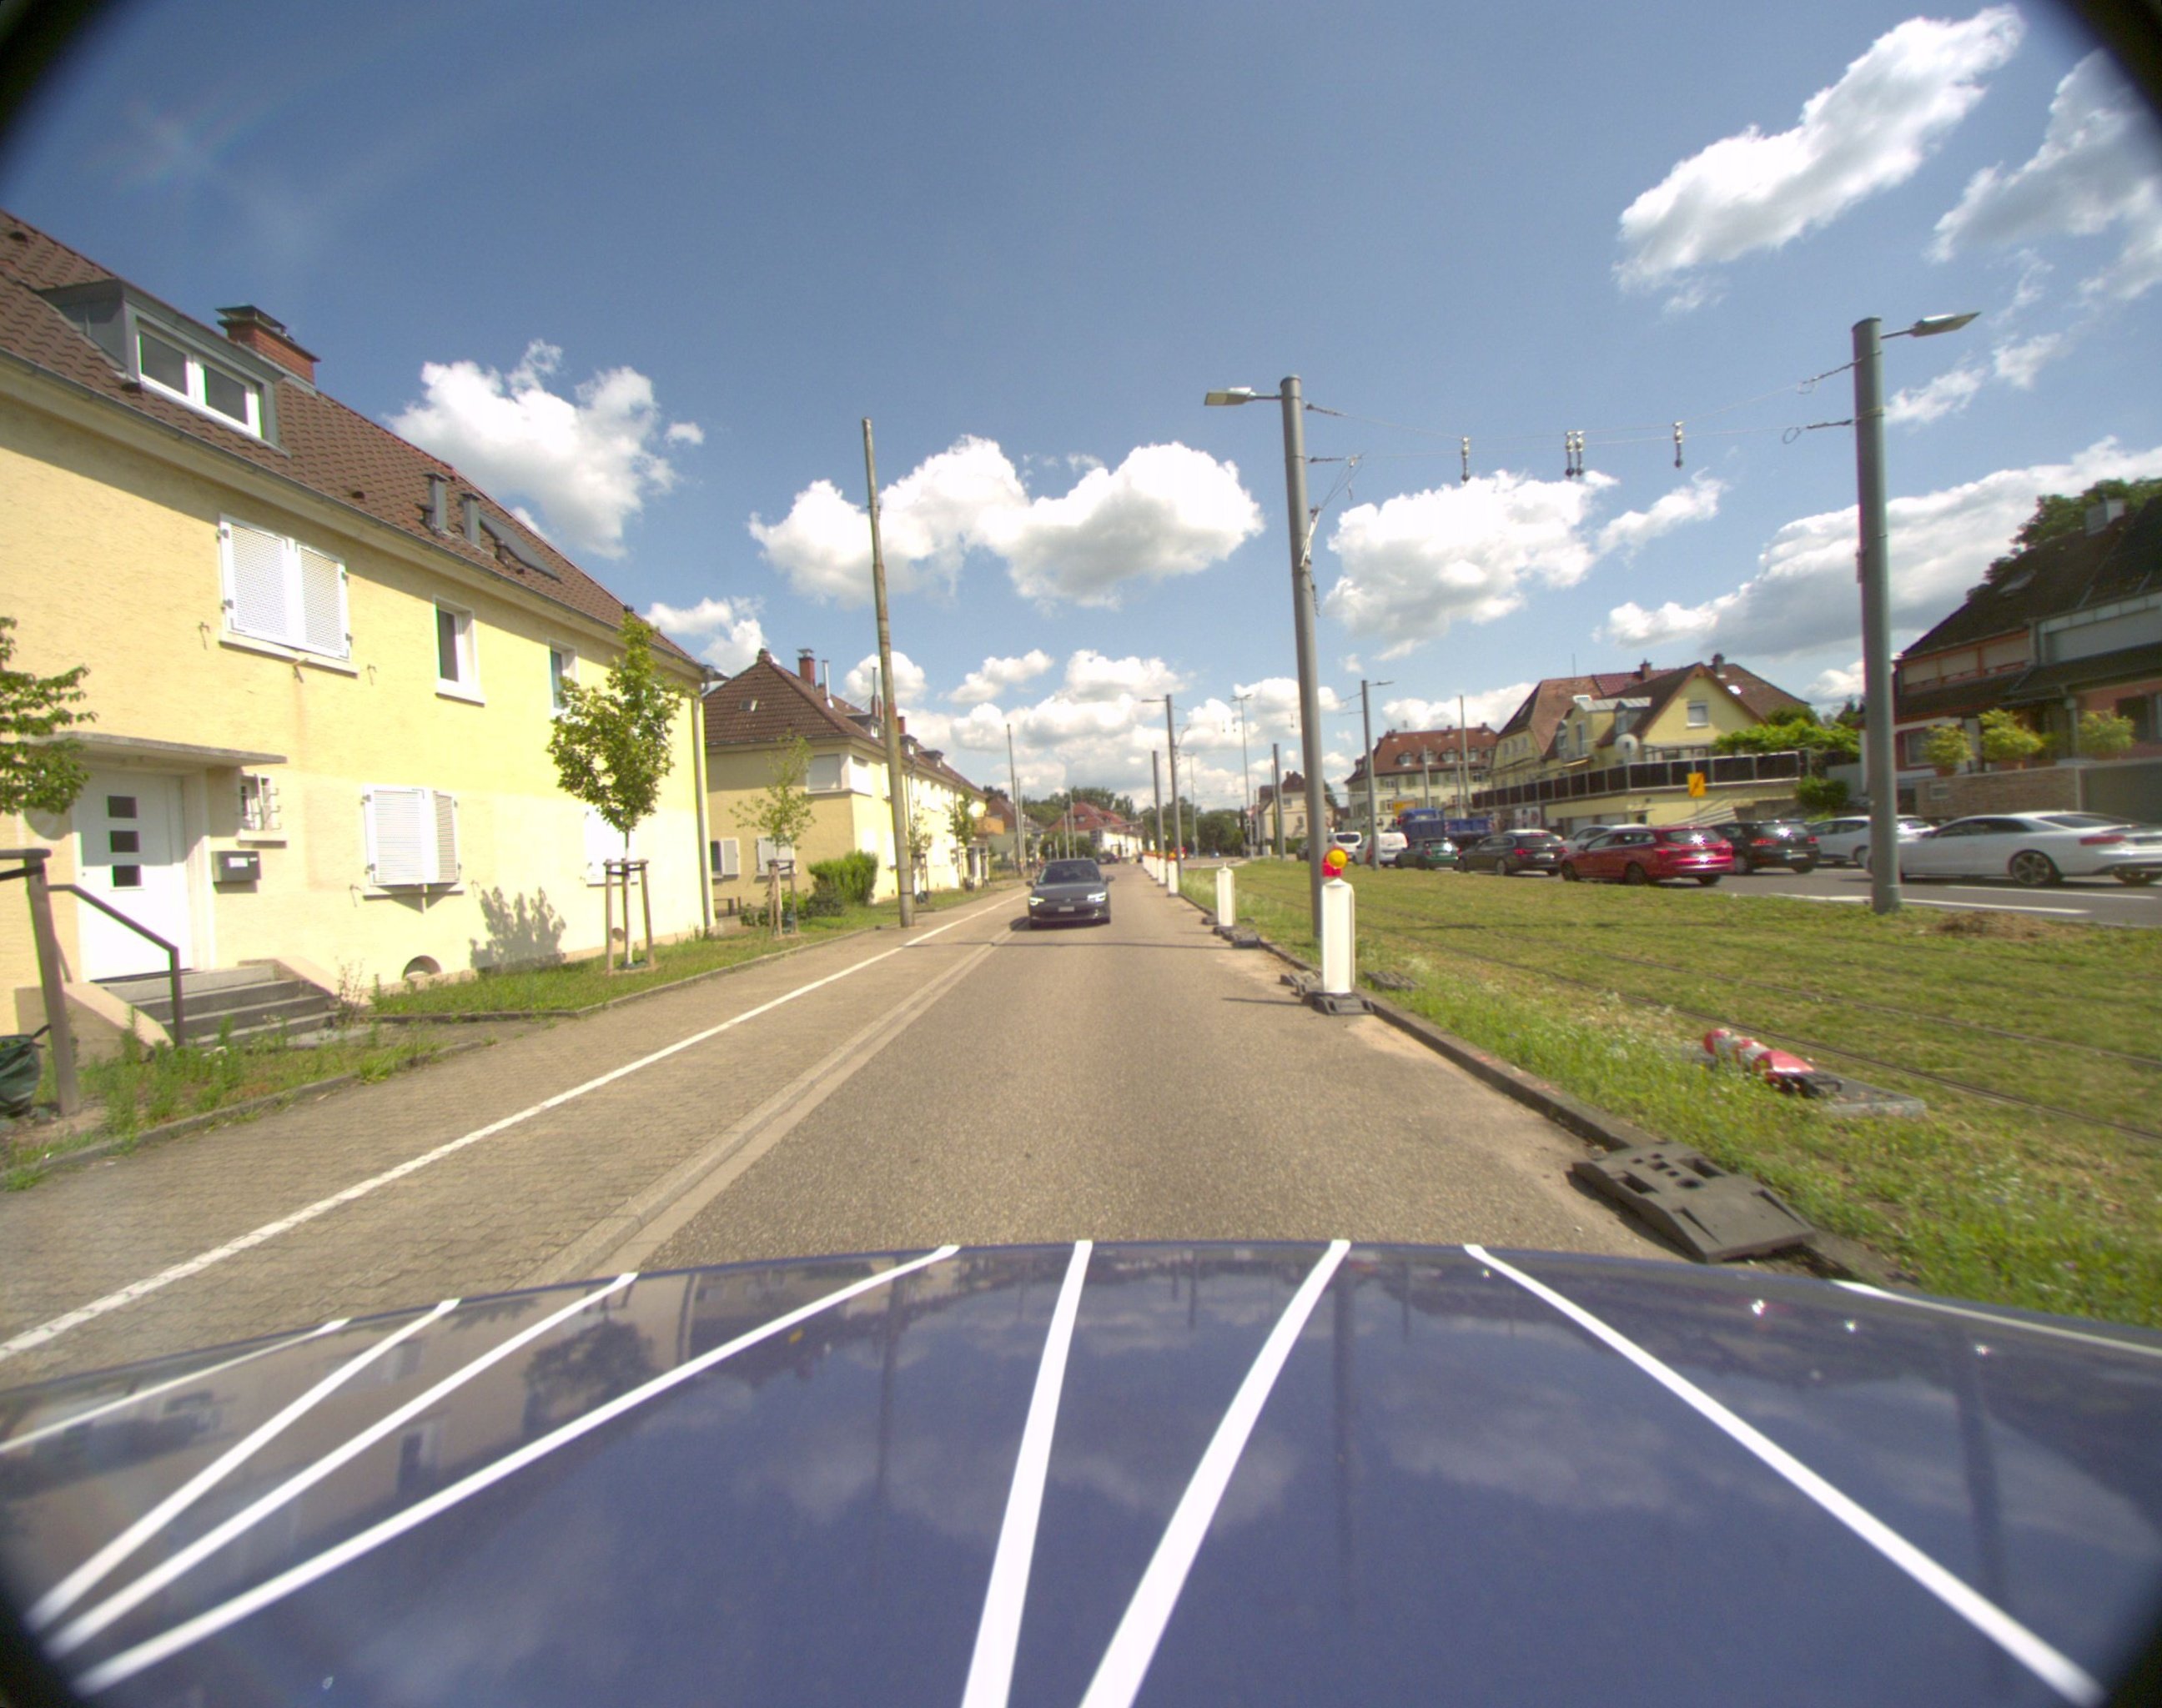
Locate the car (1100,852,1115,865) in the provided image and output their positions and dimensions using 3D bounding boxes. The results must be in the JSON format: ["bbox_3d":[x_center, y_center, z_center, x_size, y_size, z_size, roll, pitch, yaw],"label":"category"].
[{"bbox_3d":[3.495,0.530,100.123,1.879,1.544,4.985,-3,0,1],"label":"car"}]

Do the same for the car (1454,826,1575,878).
[{"bbox_3d":[14.905,-0.092,26.461,1.729,1.553,4.645,-3,0,4],"label":"car"}]

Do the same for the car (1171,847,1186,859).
[{"bbox_3d":[17.249,-0.207,133.933,2.283,1.862,4.988,-3,0,10],"label":"car"}]

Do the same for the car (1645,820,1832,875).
[{"bbox_3d":[18.655,-0.181,21.887,1.729,1.327,4.543,-3,0,6],"label":"car"}]

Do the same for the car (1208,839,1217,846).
[{"bbox_3d":[33.026,-2.789,190.883,1.721,1.582,4.173,-3,0,5],"label":"car"}]

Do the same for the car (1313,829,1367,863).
[{"bbox_3d":[16.205,-0.492,47.723,1.922,1.953,4.542,-3,0,3],"label":"car"}]

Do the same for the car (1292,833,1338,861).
[{"bbox_3d":[16.646,-0.485,54.276,1.922,1.770,4.542,-3,0,3],"label":"car"}]

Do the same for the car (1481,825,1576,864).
[{"bbox_3d":[20.205,-0.435,34.517,1.729,1.553,4.542,-3,0,3],"label":"car"}]

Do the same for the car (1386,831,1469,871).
[{"bbox_3d":[15.208,-0.145,33.613,1.729,1.553,4.542,-3,0,3],"label":"car"}]

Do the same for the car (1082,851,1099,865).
[{"bbox_3d":[1.206,0.501,92.788,1.879,1.544,4.985,-3,0,1],"label":"car"}]

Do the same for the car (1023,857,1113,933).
[{"bbox_3d":[-0.176,0.860,18.102,1.742,1.513,4.702,-1,1,4],"label":"car"}]

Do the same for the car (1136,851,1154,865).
[{"bbox_3d":[8.108,0.505,96.447,1.879,1.544,4.985,-3,0,1],"label":"car"}]

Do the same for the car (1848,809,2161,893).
[{"bbox_3d":[18.008,-0.084,14.841,1.729,1.327,4.543,-3,0,6],"label":"car"}]

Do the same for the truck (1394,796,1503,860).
[{"bbox_3d":[20.628,-1.383,43.226,2.841,3.136,7.936,-3,0,5],"label":"truck"}]

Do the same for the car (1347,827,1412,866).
[{"bbox_3d":[15.738,-0.373,40.272,1.729,1.843,4.542,-3,0,3],"label":"car"}]

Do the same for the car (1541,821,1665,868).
[{"bbox_3d":[19.553,-0.351,28.757,1.729,1.553,4.542,-3,0,4],"label":"car"}]

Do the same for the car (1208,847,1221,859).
[{"bbox_3d":[24.360,-0.198,138.857,2.283,1.862,4.988,-3,0,10],"label":"car"}]

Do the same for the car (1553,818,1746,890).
[{"bbox_3d":[14.362,-0.018,19.577,1.729,1.553,4.542,-3,0,4],"label":"car"}]

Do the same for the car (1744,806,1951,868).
[{"bbox_3d":[22.519,-0.476,22.630,1.729,1.553,4.542,-3,0,4],"label":"car"}]

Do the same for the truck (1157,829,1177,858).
[{"bbox_3d":[17.164,-2.078,151.310,3.474,5.153,14.224,-3,0,8],"label":"truck"}]
